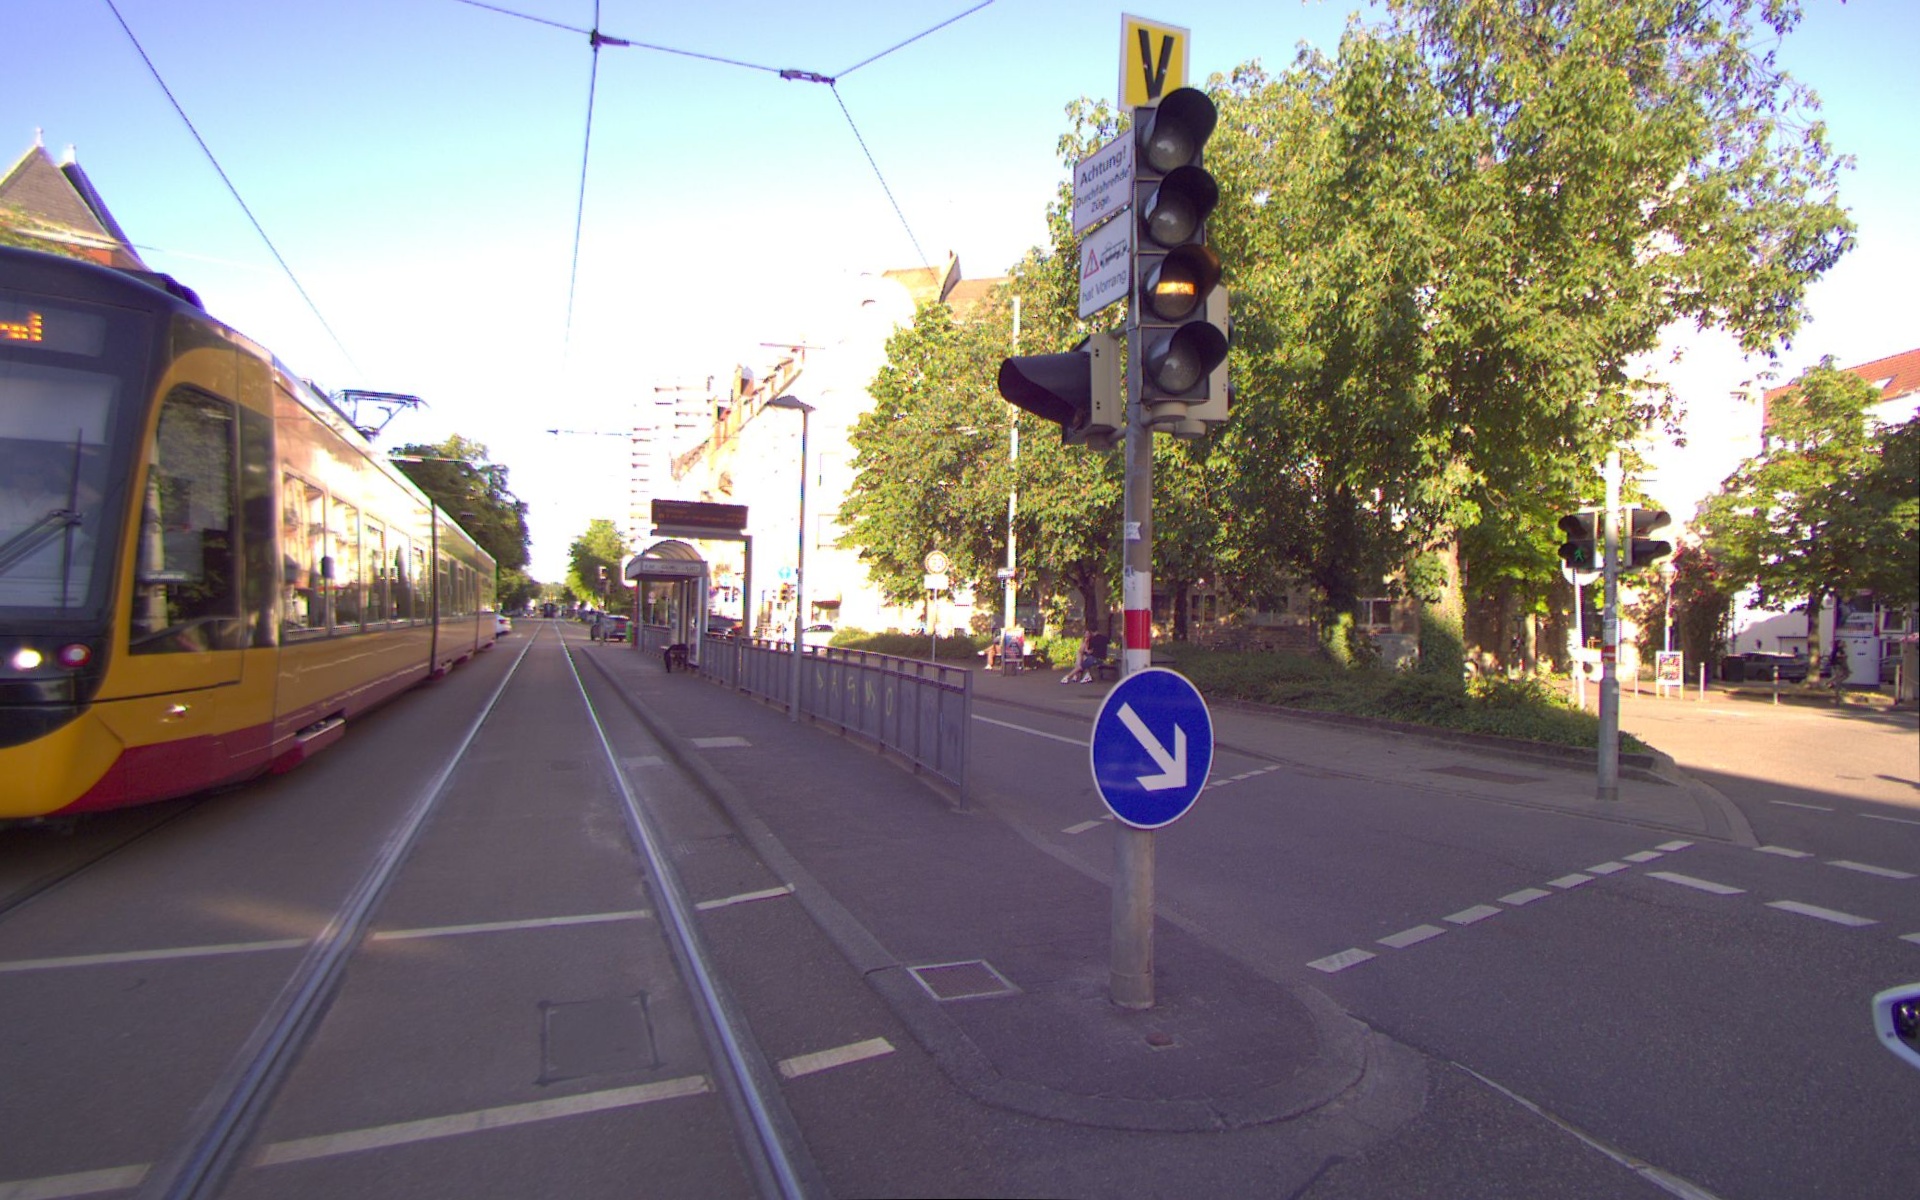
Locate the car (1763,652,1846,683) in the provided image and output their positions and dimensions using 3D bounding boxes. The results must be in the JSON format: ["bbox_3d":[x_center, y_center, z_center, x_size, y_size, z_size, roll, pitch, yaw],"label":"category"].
[{"bbox_3d":[46.099,3.660,54.905,1.638,1.519,3.574,3,-1,3],"label":"car"}]

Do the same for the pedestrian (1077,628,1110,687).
[{"bbox_3d":[3.236,1.390,24.405,0.638,1.407,0.668,2,-1,-6],"label":"pedestrian"}]

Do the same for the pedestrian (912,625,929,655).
[{"bbox_3d":[-1.790,1.806,45.270,0.516,1.360,0.536,1,-2,31],"label":"pedestrian"}]

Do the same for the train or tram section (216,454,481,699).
[{"bbox_3d":[-12.053,-0.211,21.167,2.747,3.634,12.354,2,-2,-22],"label":"train or tram section"}]

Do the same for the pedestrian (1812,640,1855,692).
[{"bbox_3d":[30.566,2.300,35.158,0.702,1.773,0.884,2,-1,-2],"label":"pedestrian"}]

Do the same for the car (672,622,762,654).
[{"bbox_3d":[-12.039,1.870,49.838,3.920,1.427,1.788,1,-1,17],"label":"car"}]

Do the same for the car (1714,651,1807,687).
[{"bbox_3d":[38.752,3.300,48.739,1.639,1.519,3.573,3,-1,1],"label":"car"}]

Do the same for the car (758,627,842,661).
[{"bbox_3d":[-7.280,1.989,45.890,3.409,1.427,1.565,1,-1,14],"label":"car"}]

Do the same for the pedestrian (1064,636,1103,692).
[{"bbox_3d":[3.090,1.591,25.192,0.804,1.360,0.668,2,-1,-5],"label":"pedestrian"}]

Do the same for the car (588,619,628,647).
[{"bbox_3d":[-19.370,1.780,55.148,1.763,1.427,3.977,3,-2,-23],"label":"car"}]

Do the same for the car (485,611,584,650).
[{"bbox_3d":[-19.704,1.415,46.701,3.935,1.669,1.943,2,-2,-16],"label":"car"}]

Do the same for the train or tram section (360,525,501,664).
[{"bbox_3d":[-16.803,-0.028,32.727,2.734,3.604,12.614,2,-2,-22],"label":"train or tram section"}]

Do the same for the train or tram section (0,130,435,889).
[{"bbox_3d":[-7.465,-0.379,10.021,2.761,3.667,11.738,2,-2,-22],"label":"train or tram section"}]

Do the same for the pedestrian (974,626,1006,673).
[{"bbox_3d":[0.891,1.476,30.175,0.724,1.360,0.691,2,-1,-19],"label":"pedestrian"}]
